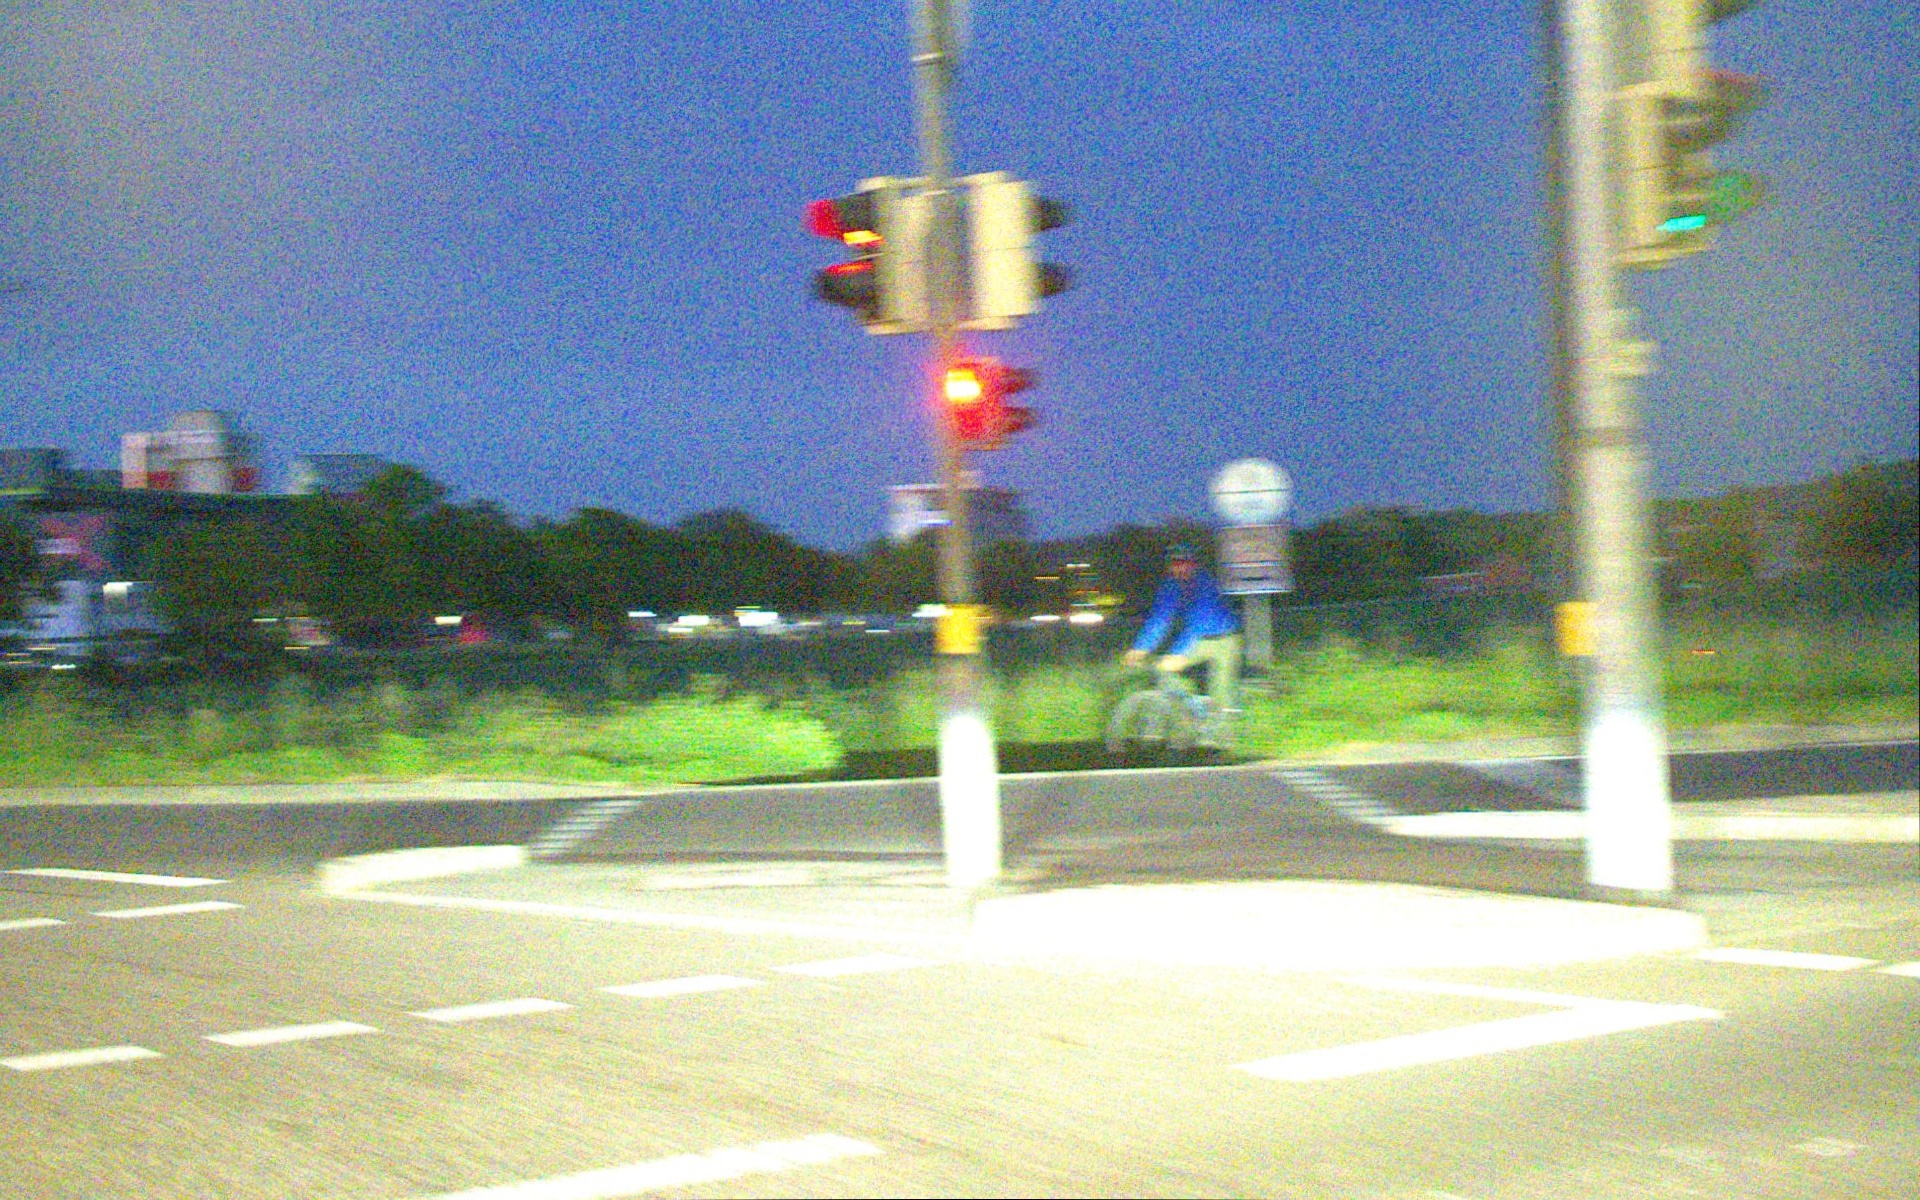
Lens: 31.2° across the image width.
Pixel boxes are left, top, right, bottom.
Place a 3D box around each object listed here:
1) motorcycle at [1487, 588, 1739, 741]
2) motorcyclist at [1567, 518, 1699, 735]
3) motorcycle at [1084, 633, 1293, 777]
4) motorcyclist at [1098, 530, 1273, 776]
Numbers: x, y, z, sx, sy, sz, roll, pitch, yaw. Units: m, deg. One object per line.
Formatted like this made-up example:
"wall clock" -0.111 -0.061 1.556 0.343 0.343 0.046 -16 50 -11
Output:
"motorcycle" 5.451 0.541 28.746 1.815 1.177 0.850 -2 -4 -12
"motorcyclist" 5.628 0.228 28.777 0.787 1.753 0.684 -2 -4 -12
"motorcycle" 1.760 0.815 26.314 0.722 1.030 1.573 -7 -6 43
"motorcyclist" 1.723 0.421 26.322 0.916 1.803 0.868 -7 -6 43
